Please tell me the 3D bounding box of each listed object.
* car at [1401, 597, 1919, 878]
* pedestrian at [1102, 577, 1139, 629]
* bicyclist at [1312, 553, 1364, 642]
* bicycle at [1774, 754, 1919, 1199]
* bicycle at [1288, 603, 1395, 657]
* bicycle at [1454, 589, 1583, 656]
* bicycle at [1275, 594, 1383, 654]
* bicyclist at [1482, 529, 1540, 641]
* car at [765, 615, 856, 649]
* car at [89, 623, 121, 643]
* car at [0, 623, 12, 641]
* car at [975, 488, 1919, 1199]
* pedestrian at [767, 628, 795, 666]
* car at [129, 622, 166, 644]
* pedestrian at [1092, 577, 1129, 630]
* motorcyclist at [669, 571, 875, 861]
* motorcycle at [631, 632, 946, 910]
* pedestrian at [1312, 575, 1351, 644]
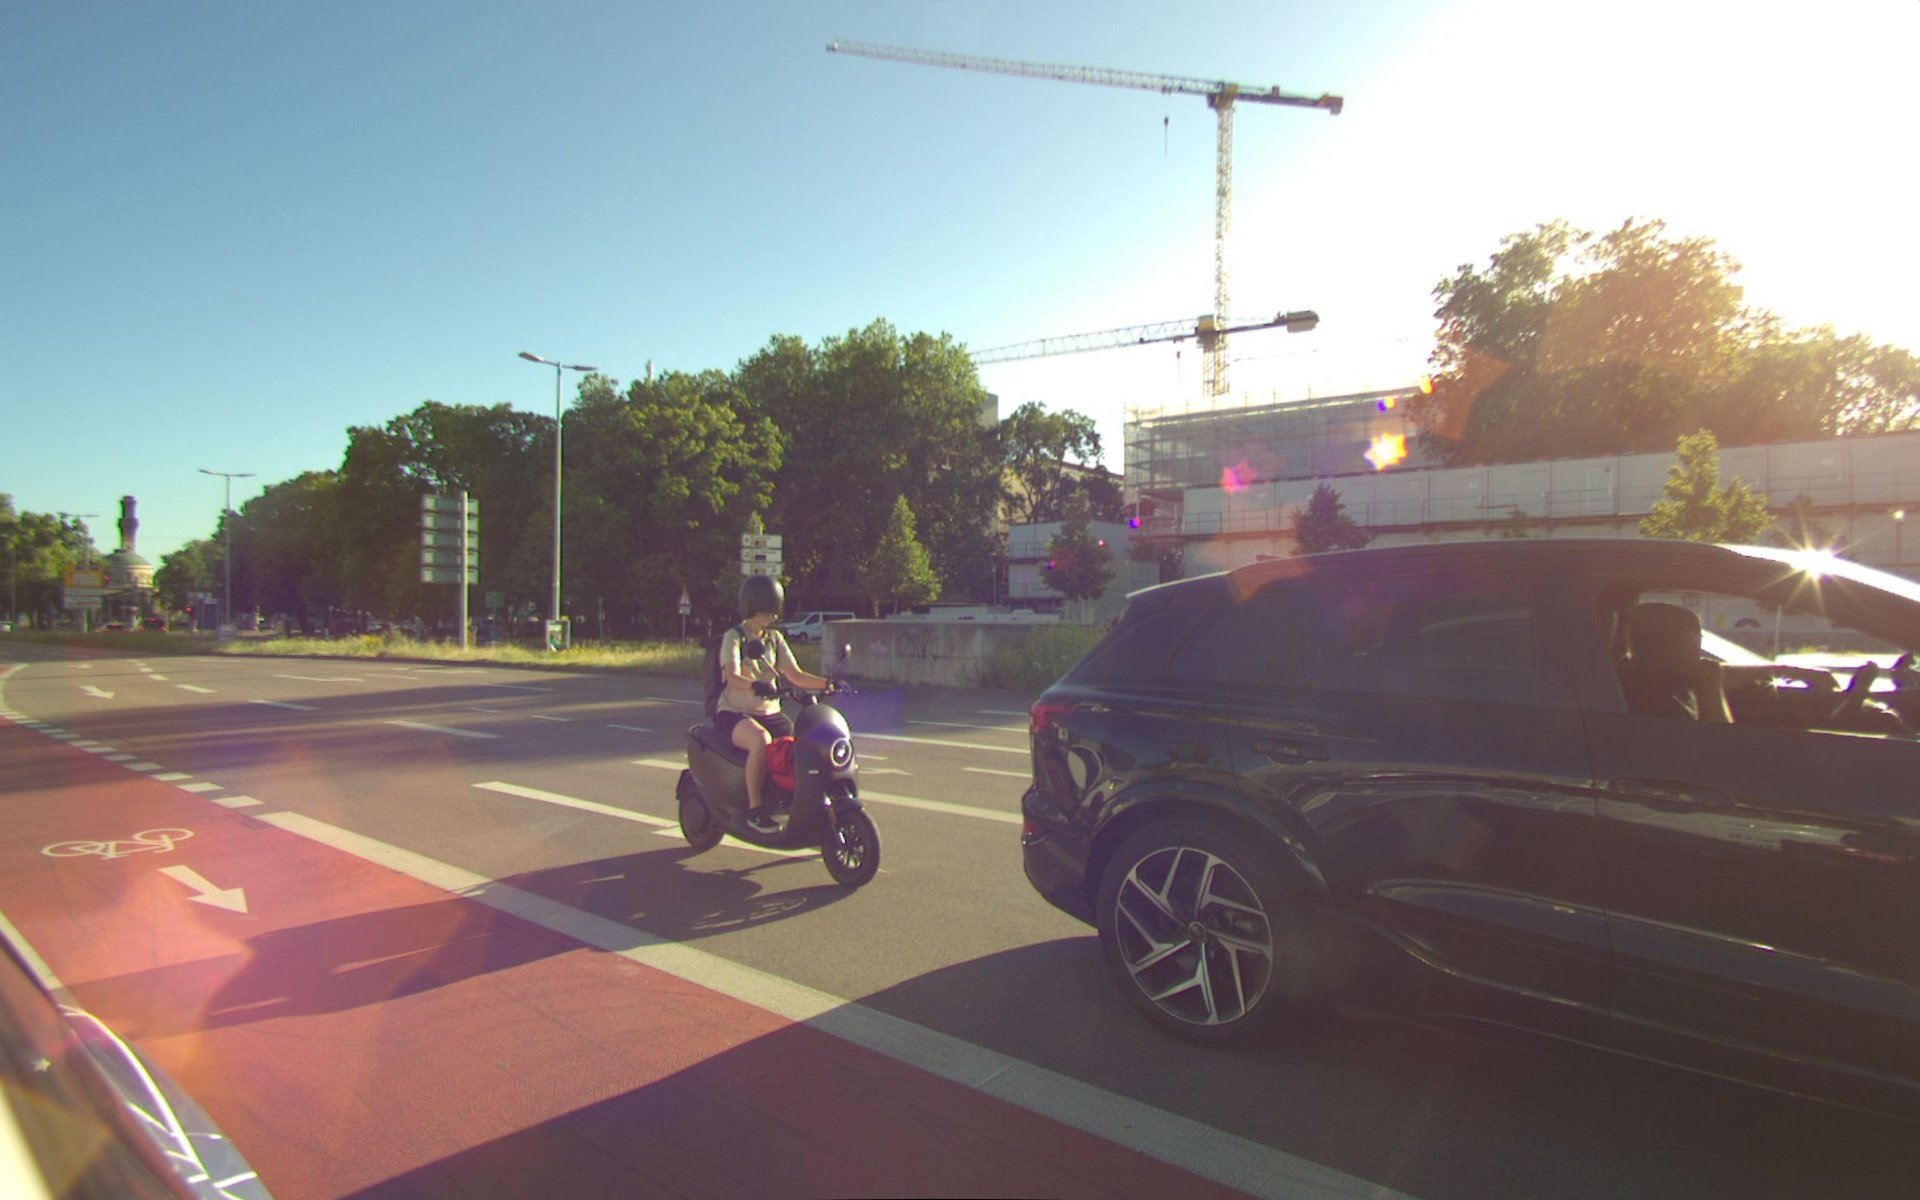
[{"bbox_3d":[4.978,0.757,6.544,3.603,1.497,1.477,-2,-1,41],"label":"car"},{"bbox_3d":[6.389,0.113,40.329,1.135,2.029,0.930,-1,0,35],"label":"pedestrian"},{"bbox_3d":[11.995,-0.076,32.116,1.305,2.749,0.831,-1,0,39],"label":"bicyclist"},{"bbox_3d":[1.463,0.772,0.331,1.829,1.227,0.610,-2,-1,39],"label":"bicycle"},{"bbox_3d":[13.426,1.024,35.694,3.355,1.824,1.066,-1,0,40],"label":"bicycle"},{"bbox_3d":[15.915,0.662,28.934,3.079,1.824,0.831,-3,-1,40],"label":"bicycle"},{"bbox_3d":[11.761,0.781,32.332,3.079,1.824,0.831,-3,-1,40],"label":"bicycle"},{"bbox_3d":[15.811,-0.424,29.020,1.305,3.126,0.831,-1,0,39],"label":"bicyclist"},{"bbox_3d":[-9.055,1.934,61.844,2.065,1.950,5.443,-1,-2,42],"label":"car"},{"bbox_3d":[-79.863,3.051,94.533,3.945,1.802,1.725,-1,0,41],"label":"car"},{"bbox_3d":[-96.807,3.198,100.794,3.966,1.699,1.840,-1,0,18],"label":"car"},{"bbox_3d":[2.420,0.579,3.025,4.677,1.647,1.753,-1,0,40],"label":"car"},{"bbox_3d":[-9.052,2.358,51.148,1.018,1.845,0.977,-1,0,37],"label":"pedestrian"},{"bbox_3d":[-70.497,2.855,87.789,3.998,1.841,1.796,-1,0,41],"label":"car"},{"bbox_3d":[5.879,0.120,39.519,1.135,2.029,0.930,-1,0,35],"label":"pedestrian"},{"bbox_3d":[-1.075,0.599,5.769,0.917,1.485,0.717,-2,-1,41],"label":"motorcyclist"},{"bbox_3d":[-1.029,0.845,5.729,1.883,1.303,0.715,-2,-1,41],"label":"motorcycle"},{"bbox_3d":[13.183,0.325,35.903,1.018,2.393,1.008,-1,0,40],"label":"pedestrian"}]
